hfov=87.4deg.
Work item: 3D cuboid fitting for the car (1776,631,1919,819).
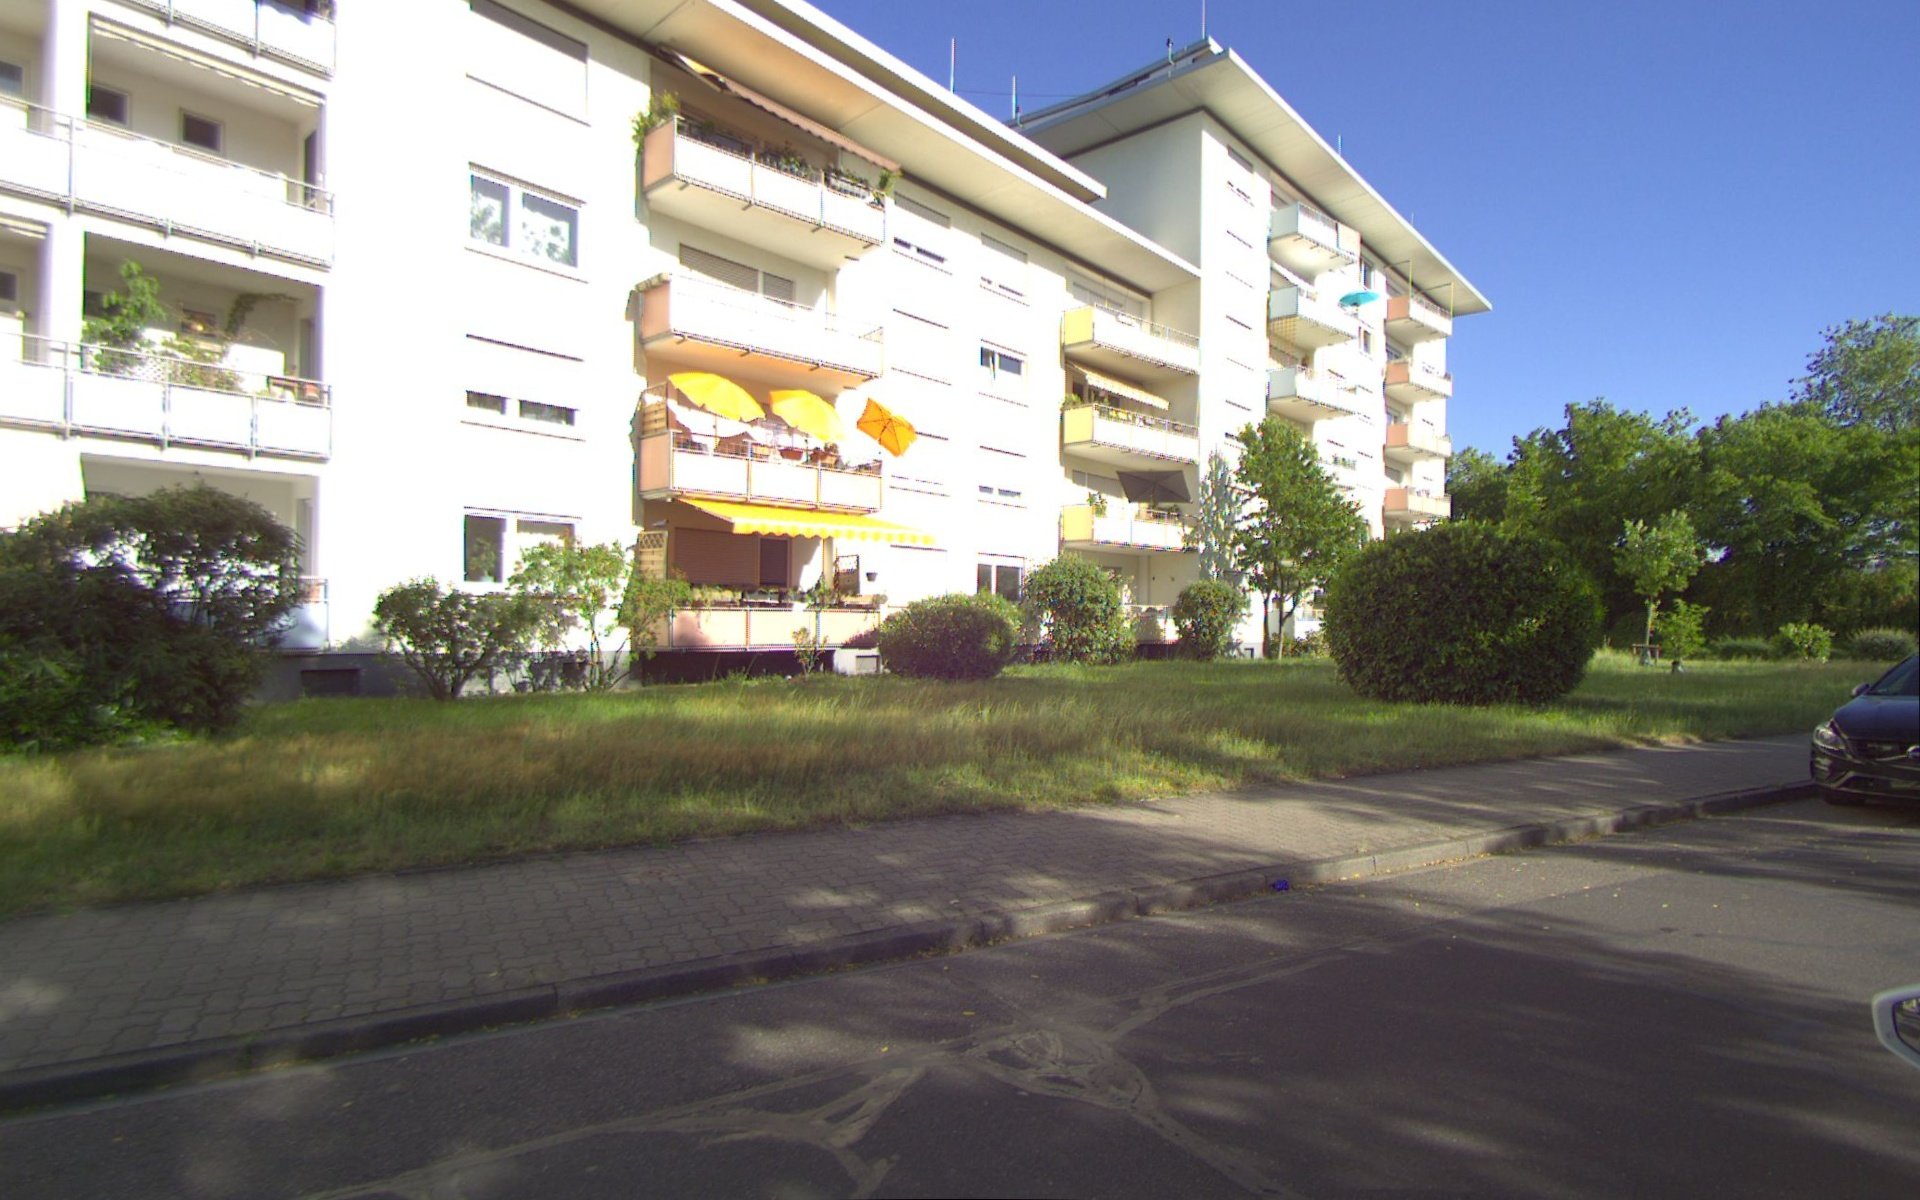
[{"bbox_3d":[9.666,1.047,9.246,4.745,1.501,1.831,1,-3,-31],"label":"car"}]
